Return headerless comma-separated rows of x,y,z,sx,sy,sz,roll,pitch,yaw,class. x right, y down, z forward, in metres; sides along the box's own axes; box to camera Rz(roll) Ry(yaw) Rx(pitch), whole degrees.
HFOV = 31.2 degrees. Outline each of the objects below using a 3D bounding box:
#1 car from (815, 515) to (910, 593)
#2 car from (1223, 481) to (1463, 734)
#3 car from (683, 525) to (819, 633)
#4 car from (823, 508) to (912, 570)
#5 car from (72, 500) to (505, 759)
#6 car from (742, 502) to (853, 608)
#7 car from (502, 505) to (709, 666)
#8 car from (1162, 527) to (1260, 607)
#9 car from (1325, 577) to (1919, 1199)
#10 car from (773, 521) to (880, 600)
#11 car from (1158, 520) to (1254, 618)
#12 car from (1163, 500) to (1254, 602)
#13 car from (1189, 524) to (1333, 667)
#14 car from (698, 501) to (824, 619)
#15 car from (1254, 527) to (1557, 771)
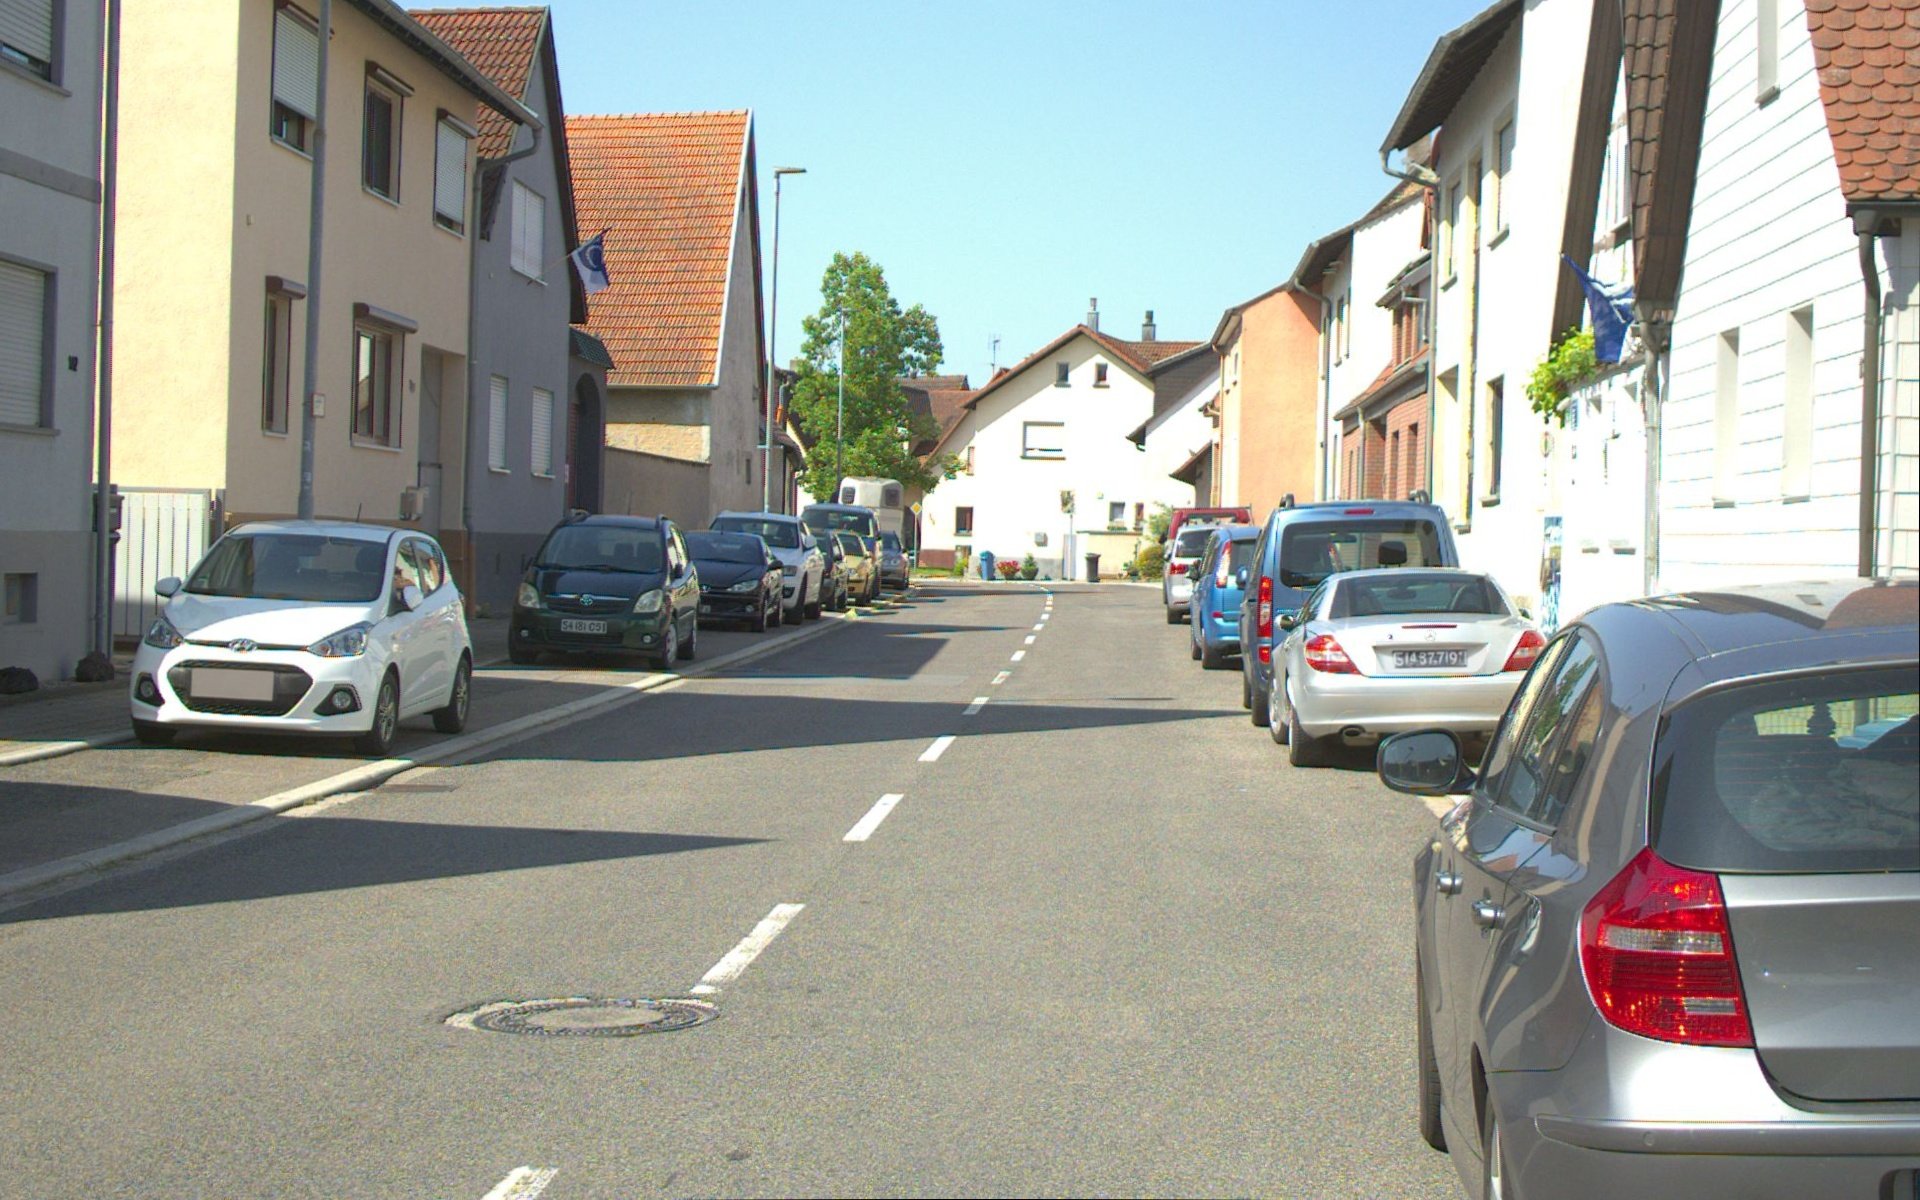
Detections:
-2.072,-0.983,74.123,1.754,1.619,4.000,1,1,2,car
3.123,0.033,28.617,1.649,1.903,3.625,3,1,2,car
-2.938,-0.308,48.935,1.504,1.448,3.508,1,1,3,car
-2.225,-1.473,83.580,1.754,1.437,3.999,1,1,4,car
-4.505,0.156,23.742,1.806,1.542,4.403,3,1,4,car
-2.756,-0.778,59.034,1.527,1.707,3.625,3,1,2,car
-3.758,-0.175,37.026,1.619,1.572,3.961,3,1,2,car
4.707,-0.618,64.790,1.767,1.428,3.449,1,1,4,car
1.726,0.689,6.901,1.704,1.428,3.889,0,1,2,car
-2.550,-0.762,66.426,1.754,1.437,4.000,1,1,2,car
4.066,-0.525,57.071,1.420,1.510,3.304,3,1,2,car
5.048,-0.987,70.189,1.767,1.997,3.449,1,0,4,car
3.414,-0.071,39.412,1.420,1.510,3.304,3,1,2,car
-3.052,-0.630,53.309,1.527,1.707,3.625,3,1,2,car
2.967,0.287,23.501,1.704,1.491,3.452,-2,1,2,car
